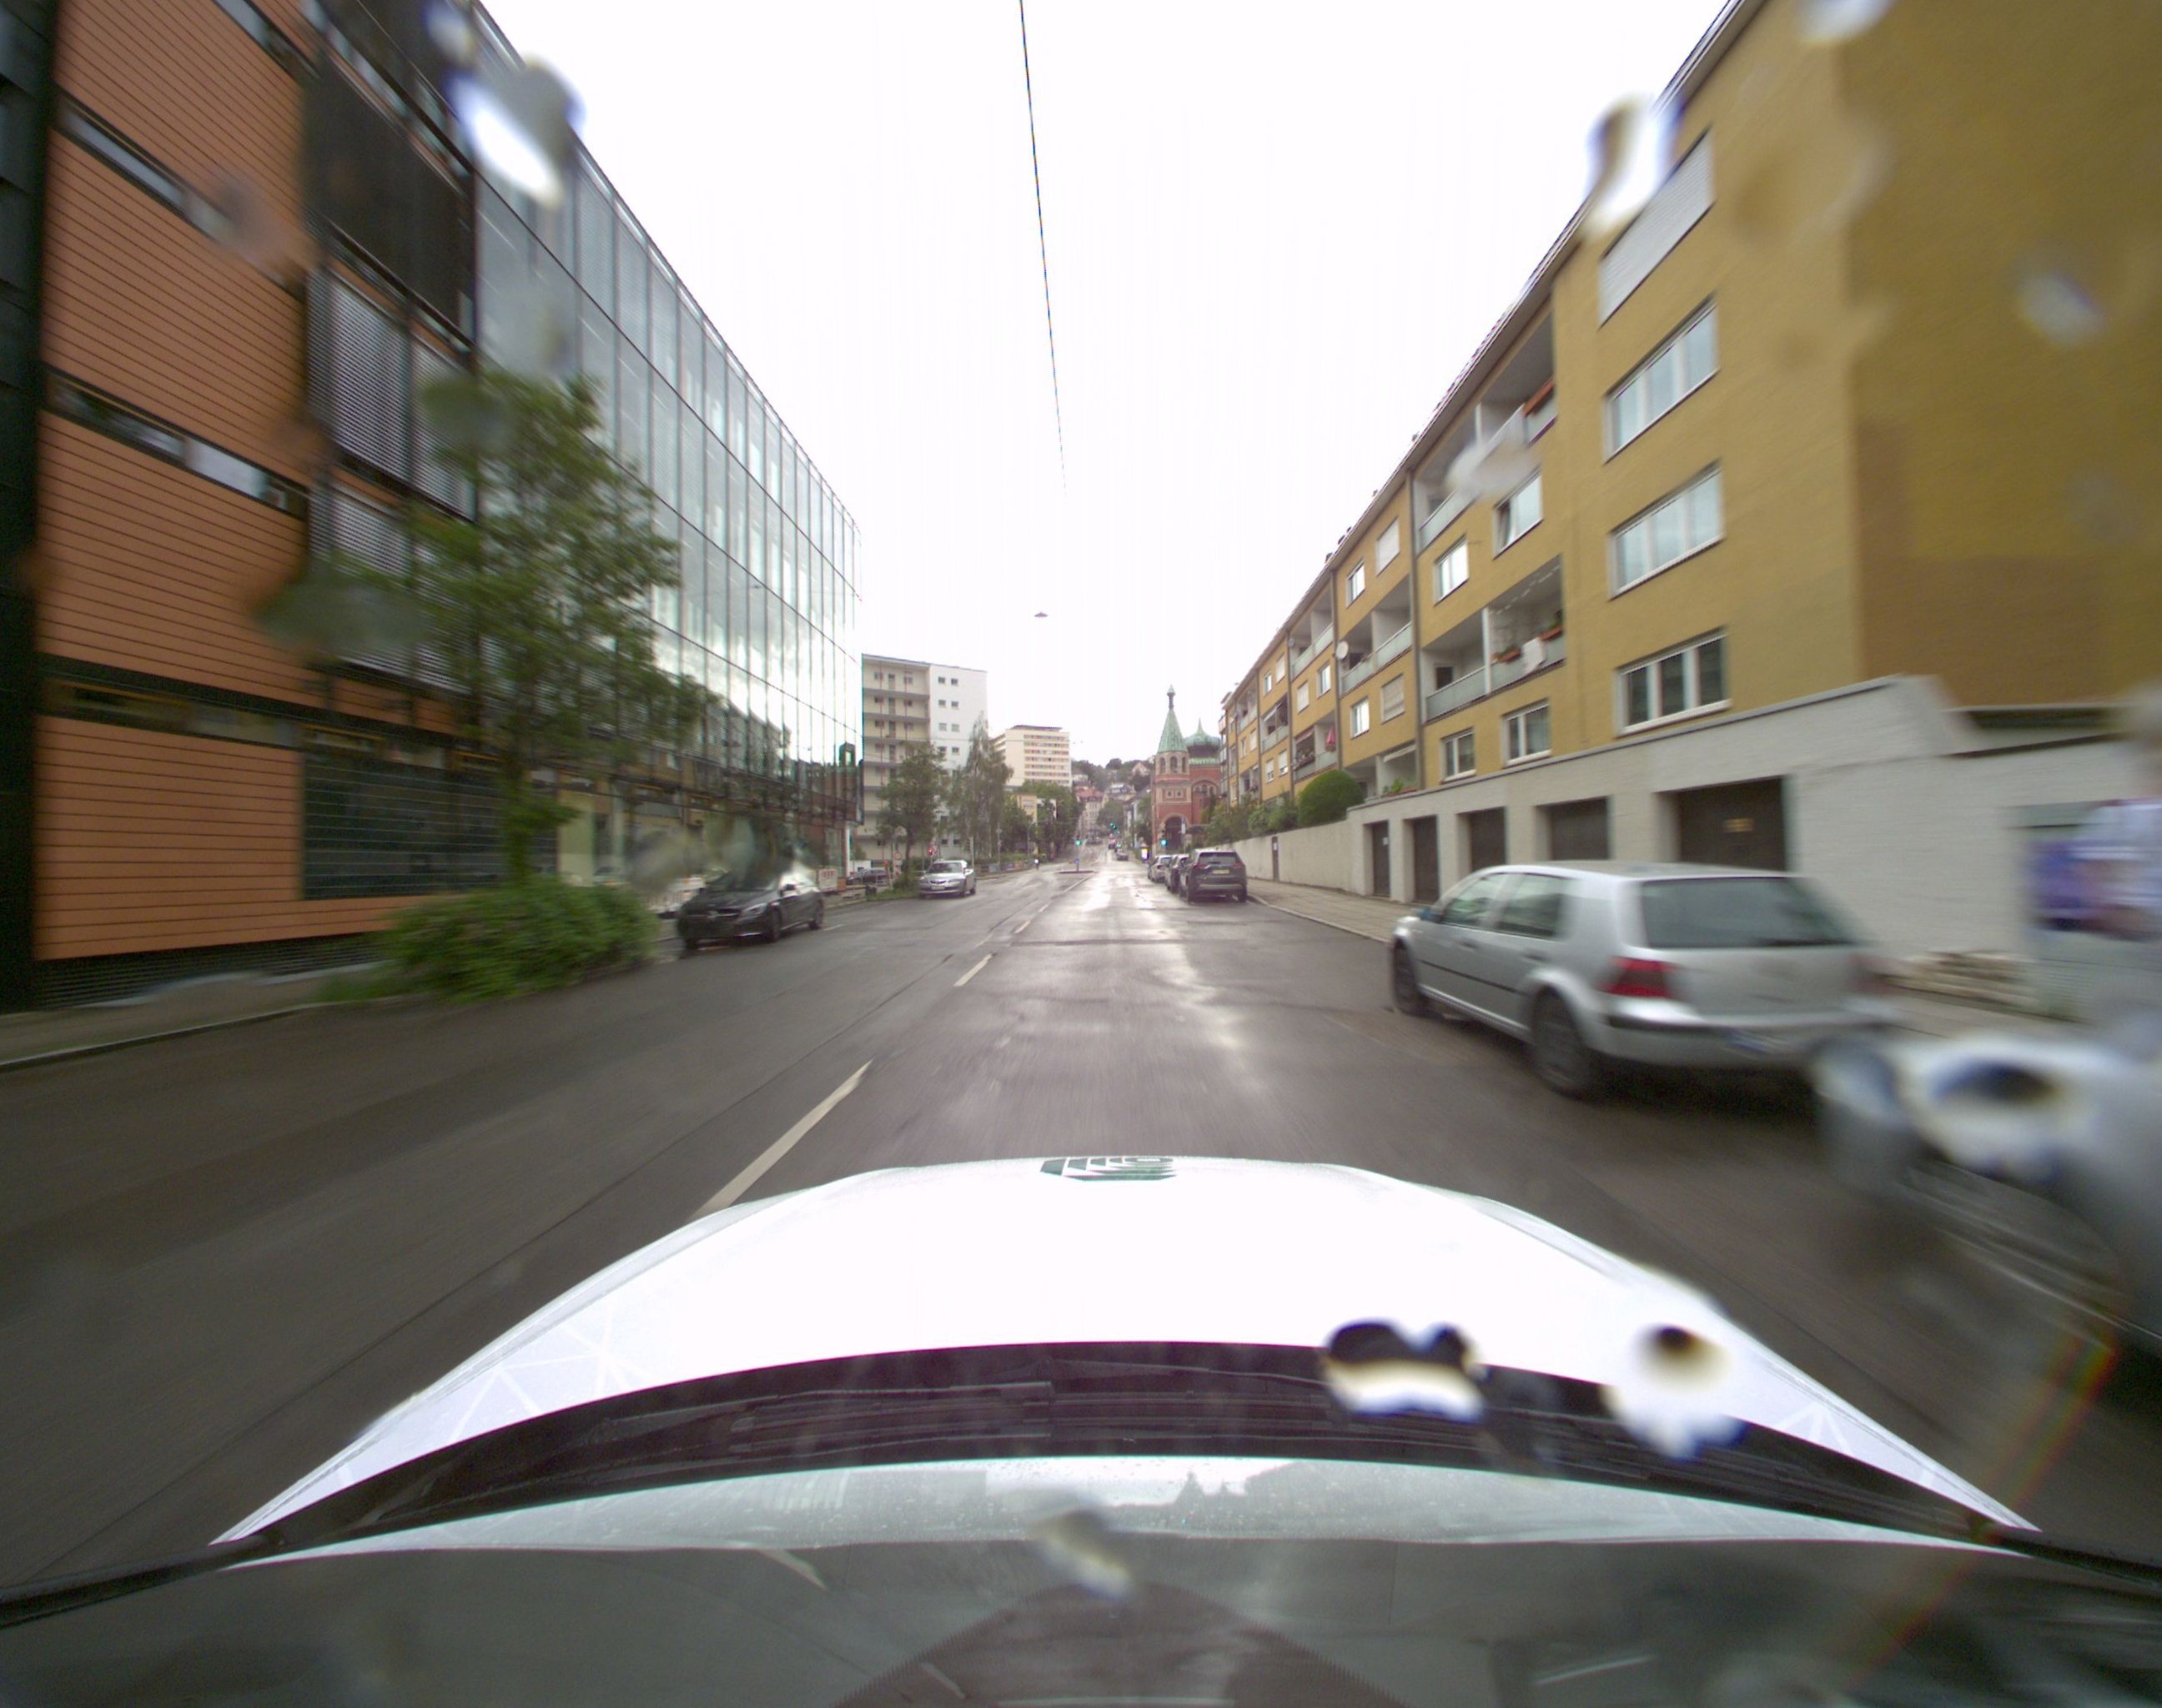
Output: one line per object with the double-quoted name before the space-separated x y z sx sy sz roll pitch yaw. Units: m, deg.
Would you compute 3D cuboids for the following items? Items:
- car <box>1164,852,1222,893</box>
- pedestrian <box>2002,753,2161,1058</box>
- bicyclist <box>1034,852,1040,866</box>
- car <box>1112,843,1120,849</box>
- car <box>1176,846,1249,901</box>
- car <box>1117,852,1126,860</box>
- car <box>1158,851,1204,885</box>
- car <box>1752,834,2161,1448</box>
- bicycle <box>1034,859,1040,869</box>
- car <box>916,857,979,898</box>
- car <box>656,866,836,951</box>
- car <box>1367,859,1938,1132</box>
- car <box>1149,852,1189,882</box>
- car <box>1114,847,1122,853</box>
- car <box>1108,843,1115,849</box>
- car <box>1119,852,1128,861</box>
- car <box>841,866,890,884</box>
"car" 4.365 0.668 32.211 1.811 1.522 4.077 0 0 1
"pedestrian" 6.313 0.274 4.999 0.771 1.732 0.736 -5 2 -34
"bicyclist" -5.262 0.651 97.322 0.675 1.661 0.650 -1 -1 -2
"car" 9.128 -2.016 214.041 1.901 1.510 4.001 0 0 1
"car" 4.211 0.594 26.651 1.811 1.652 4.077 0 0 1
"car" 8.571 0.477 172.752 1.843 1.766 4.003 0 0 3
"car" 4.754 0.627 39.267 1.811 1.522 4.077 0 0 1
"car" 3.453 0.681 1.227 1.658 1.502 3.921 -1 0 0
"bicycle" -5.255 1.186 97.332 0.675 1.107 1.799 -1 -1 -1
"car" -5.230 0.885 32.436 1.704 1.450 4.294 -2 -1 1
"car" -6.697 1.010 16.931 1.797 1.450 4.656 -2 -1 0
"car" 3.726 0.762 6.285 1.658 1.400 3.921 -1 0 0
"car" 4.744 0.662 44.223 1.811 1.522 4.077 0 0 1
"car" 9.086 -1.026 197.919 1.885 1.510 4.001 0 0 1
"car" 8.860 -2.321 234.285 1.901 1.510 4.001 0 0 1
"car" 8.435 0.550 161.401 1.724 1.653 4.005 -1 0 5
"car" -20.071 1.980 75.825 4.018 1.510 1.780 -1 0 -37
